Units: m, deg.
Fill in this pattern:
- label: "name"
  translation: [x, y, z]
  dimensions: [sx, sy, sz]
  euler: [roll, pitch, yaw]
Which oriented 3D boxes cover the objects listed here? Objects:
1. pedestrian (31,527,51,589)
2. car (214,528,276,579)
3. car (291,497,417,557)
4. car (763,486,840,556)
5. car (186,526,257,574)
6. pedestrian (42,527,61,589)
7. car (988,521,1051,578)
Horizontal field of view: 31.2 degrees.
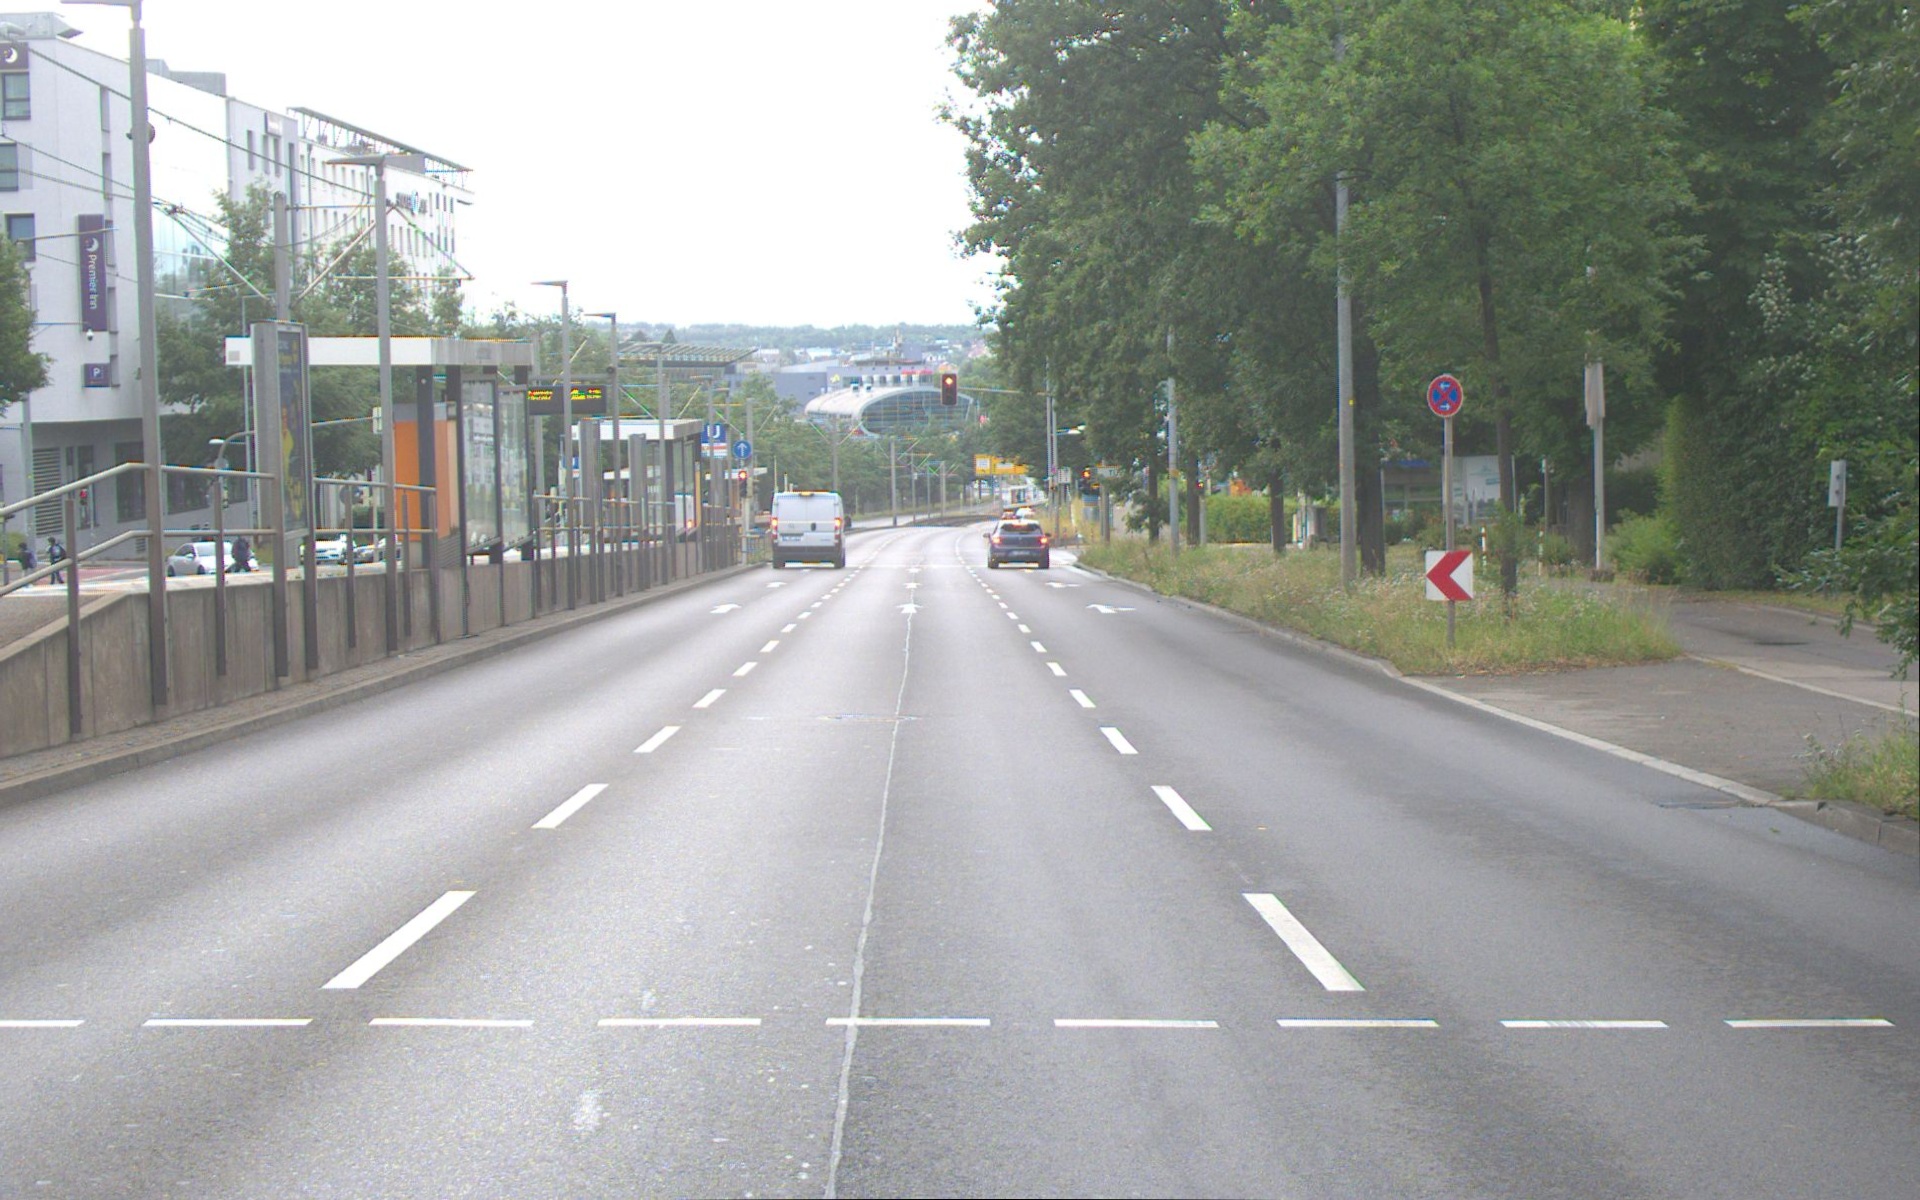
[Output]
- label: "pedestrian"
  translation: [-28.623, -1.304, 107.109]
  dimensions: [0.475, 1.914, 0.490]
  euler: [0, 1, -1]
- label: "car"
  translation: [-21.655, -1.408, 104.019]
  dimensions: [1.650, 1.431, 3.881]
  euler: [-3, 1, -13]
- label: "car"
  translation: [-20.789, -2.536, 118.046]
  dimensions: [1.758, 2.006, 3.990]
  euler: [1, 2, 43]
- label: "car"
  translation: [-4.681, -2.345, 102.087]
  dimensions: [2.093, 2.046, 4.607]
  euler: [0, 1, -1]
- label: "car"
  translation: [-23.752, -1.604, 110.524]
  dimensions: [1.650, 1.431, 3.881]
  euler: [-3, 1, -20]
- label: "pedestrian"
  translation: [-28.129, -1.294, 106.447]
  dimensions: [0.475, 1.914, 0.490]
  euler: [0, 1, -1]
- label: "car"
  translation: [1.768, -1.526, 102.774]
  dimensions: [1.774, 1.685, 3.846]
  euler: [0, 1, -1]
